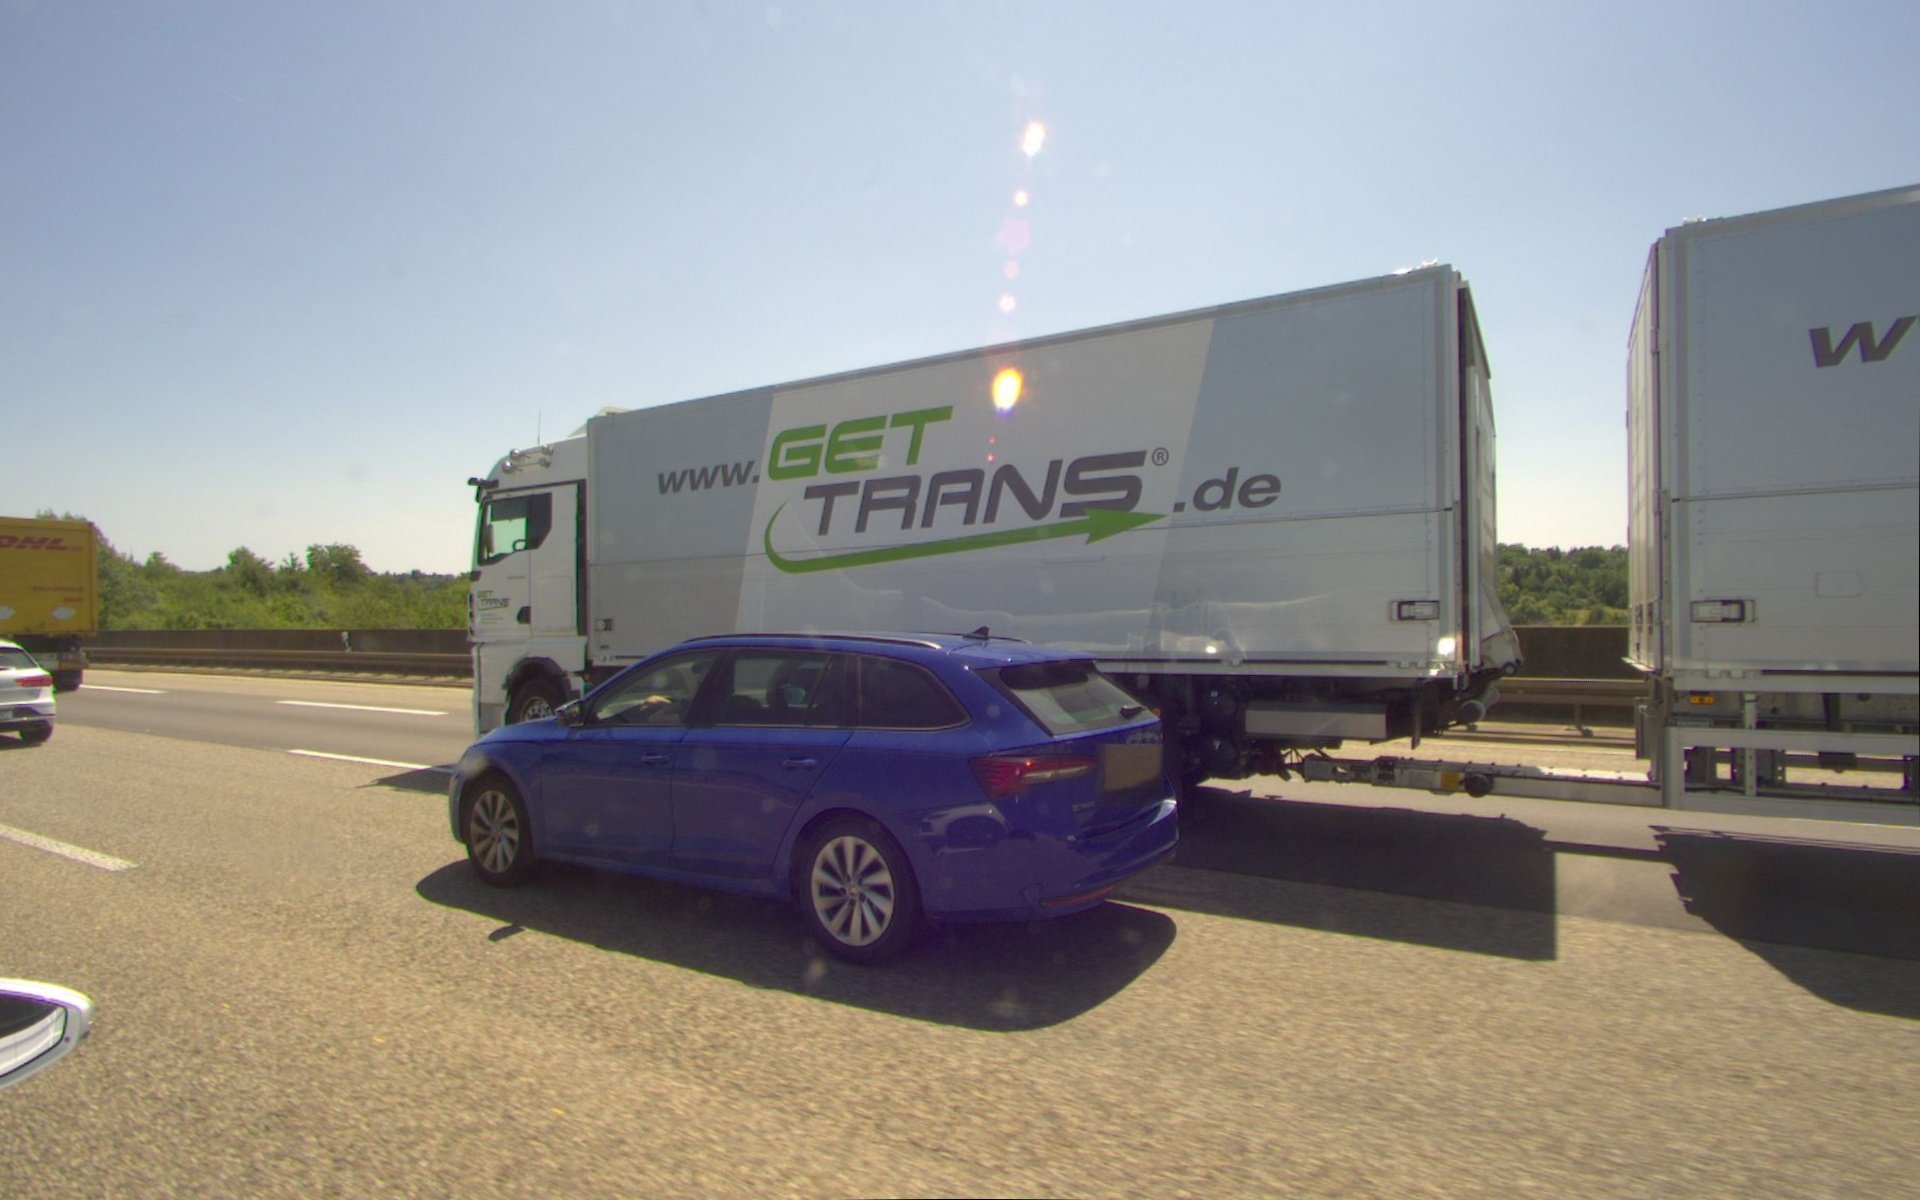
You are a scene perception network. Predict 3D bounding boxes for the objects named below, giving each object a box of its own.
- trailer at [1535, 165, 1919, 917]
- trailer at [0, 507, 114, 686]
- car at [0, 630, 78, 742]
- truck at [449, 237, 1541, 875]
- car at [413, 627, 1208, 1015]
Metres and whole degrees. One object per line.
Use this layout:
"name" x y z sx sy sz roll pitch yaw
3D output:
"trailer" 7.475 -0.284 4.751 8.172 3.640 2.840 -1 -2 32
"trailer" -25.181 0.053 25.710 8.803 4.074 2.697 -2 -2 32
"car" -13.891 1.121 13.621 4.128 1.405 1.778 -1 -1 33
"truck" -0.533 -0.091 9.741 10.614 3.648 2.846 -2 -2 32
"car" -1.028 0.887 5.683 4.435 1.459 1.707 -1 -1 32
